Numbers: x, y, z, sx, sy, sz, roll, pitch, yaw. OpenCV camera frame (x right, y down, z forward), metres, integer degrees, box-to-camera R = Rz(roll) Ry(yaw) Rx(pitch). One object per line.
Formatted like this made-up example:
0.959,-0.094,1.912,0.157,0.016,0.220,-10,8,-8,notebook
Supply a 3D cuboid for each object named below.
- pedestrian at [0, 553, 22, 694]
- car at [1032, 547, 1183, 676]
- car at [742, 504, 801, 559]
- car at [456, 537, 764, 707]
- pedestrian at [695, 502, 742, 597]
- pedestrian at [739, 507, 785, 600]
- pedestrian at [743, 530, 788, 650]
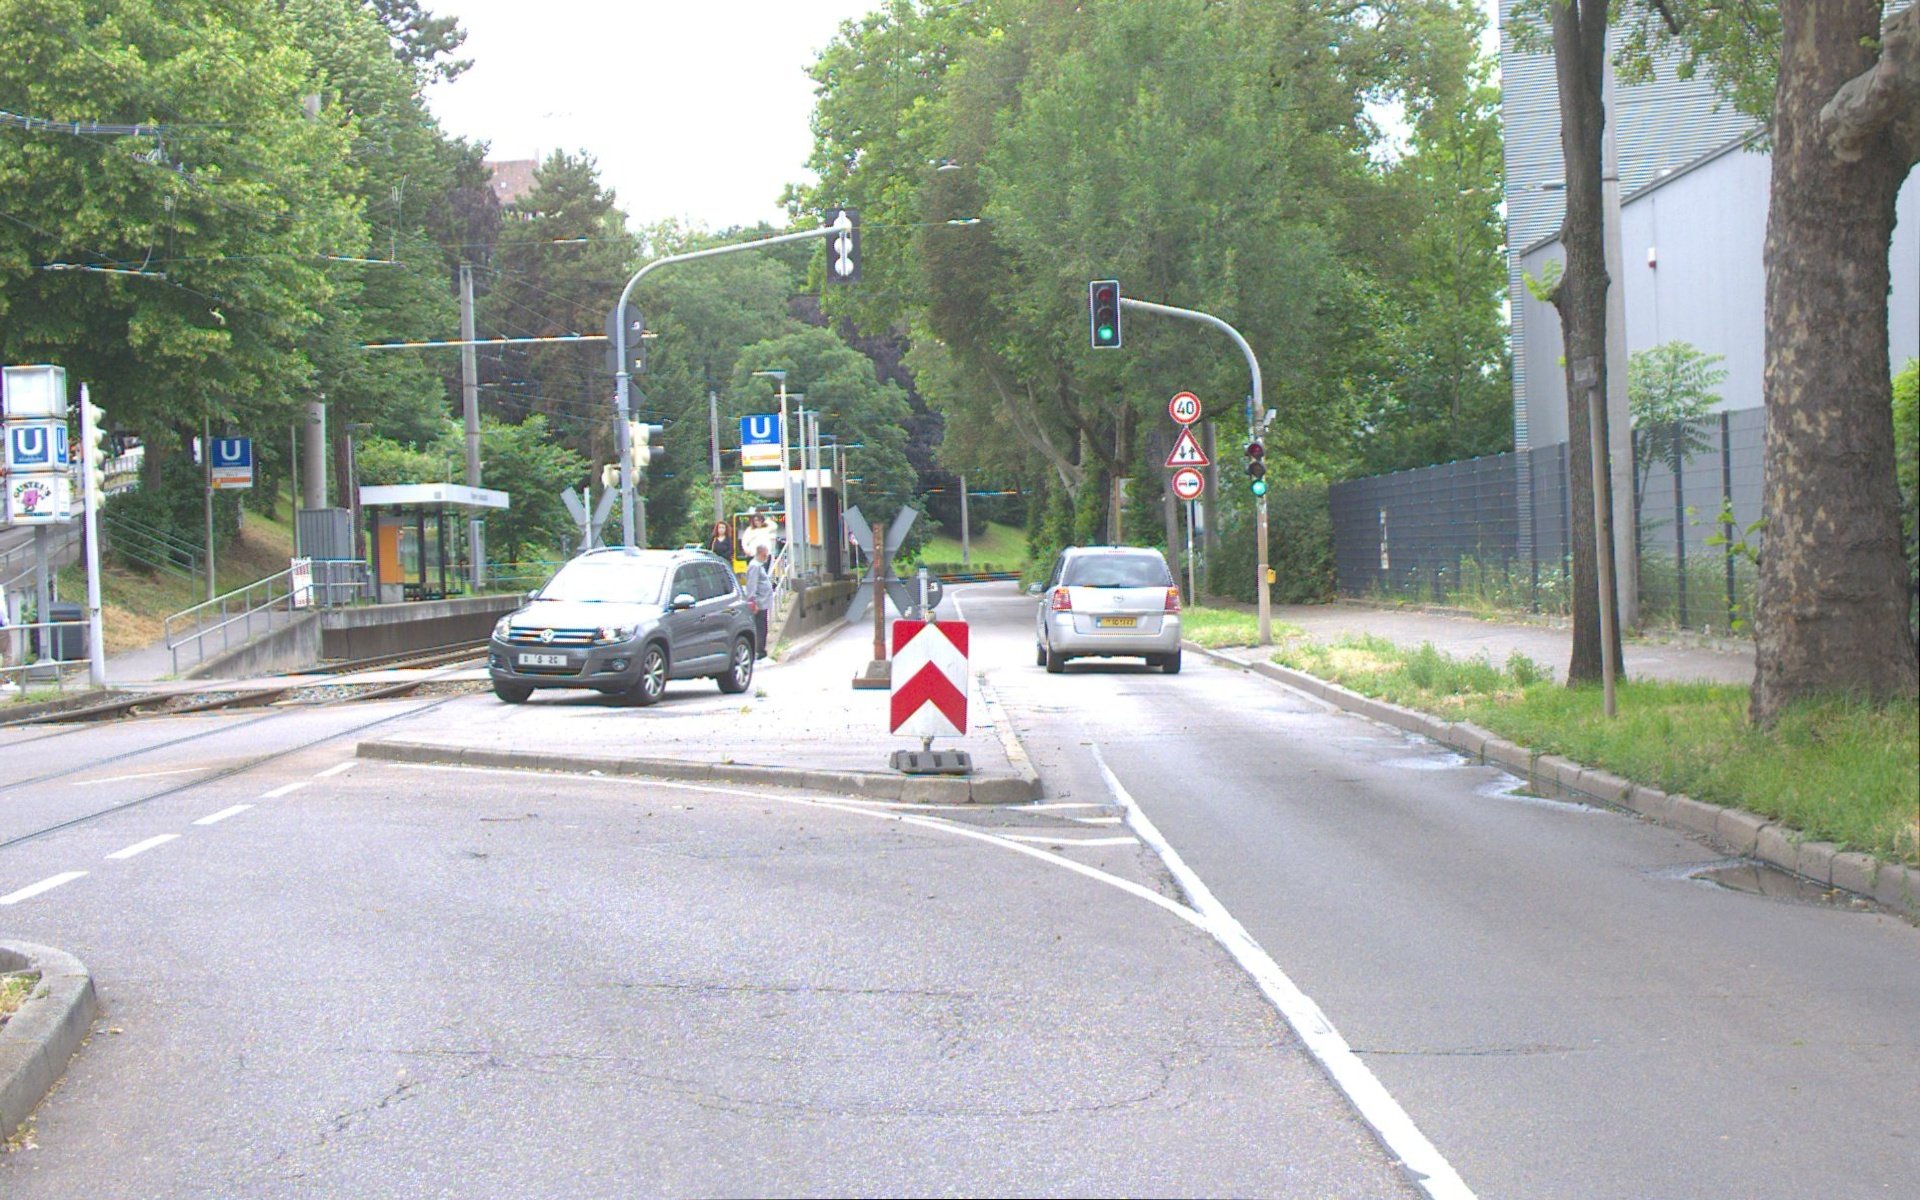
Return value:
-12.648,0.298,44.664,0.668,1.815,0.805,1,0,2,pedestrian
1.898,0.123,45.221,1.743,1.593,4.000,1,1,-1,car
-7.071,-2.571,129.327,1.993,2.007,4.000,1,1,-1,car
-3.822,0.219,38.303,1.901,1.712,4.133,-3,0,17,car
-4.288,-0.898,61.075,0.735,1.659,0.682,1,0,-11,pedestrian
-3.572,-0.842,62.012,0.735,1.659,0.682,1,0,-11,pedestrian
-2.869,-0.158,50.793,0.550,1.752,0.737,1,0,4,pedestrian
